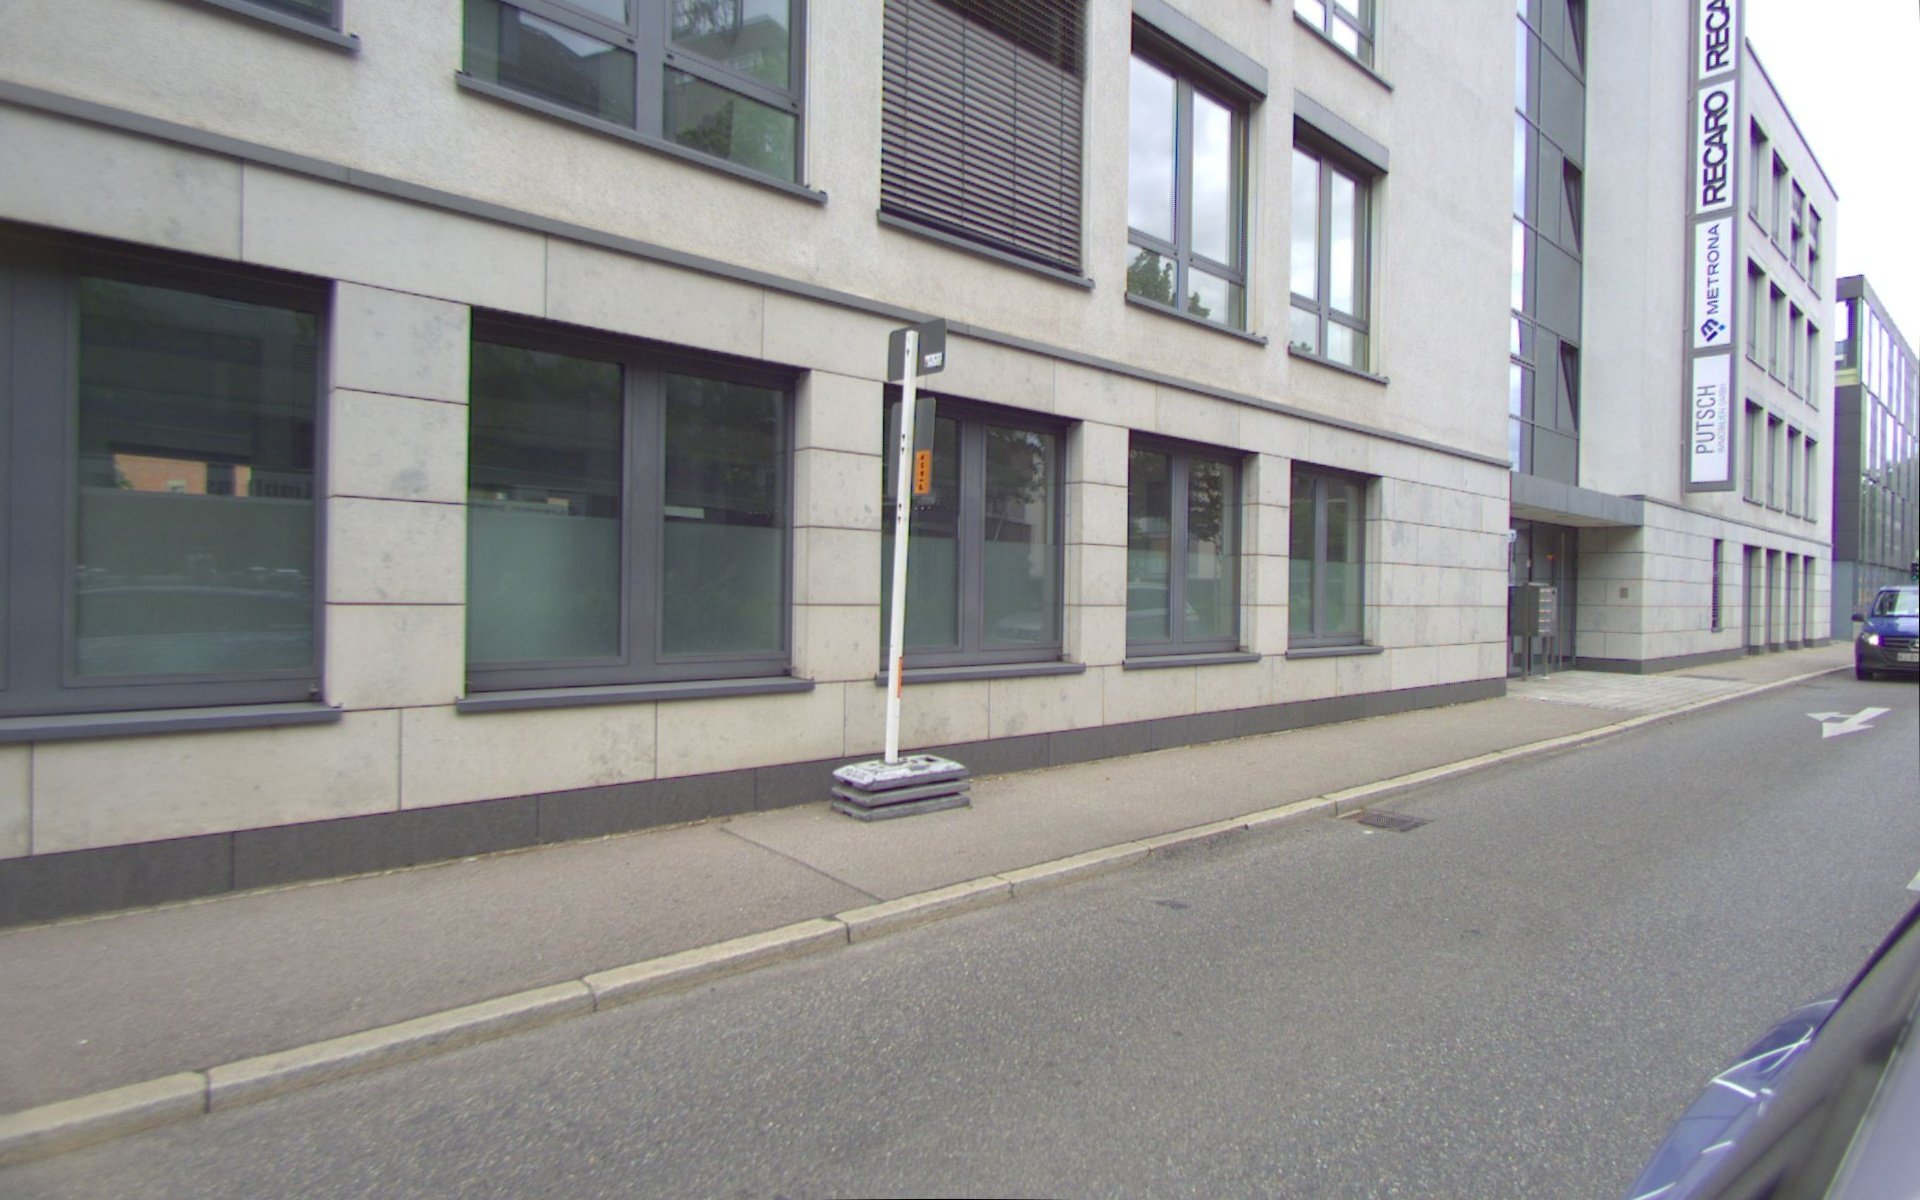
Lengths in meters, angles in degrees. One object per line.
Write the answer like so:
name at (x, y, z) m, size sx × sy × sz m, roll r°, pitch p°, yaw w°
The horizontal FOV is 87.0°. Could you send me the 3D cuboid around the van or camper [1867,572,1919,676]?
van or camper at (19.859, 0.449, 20.324) m, size 4.944 × 1.935 × 1.863 m, roll 0°, pitch 1°, yaw -41°
